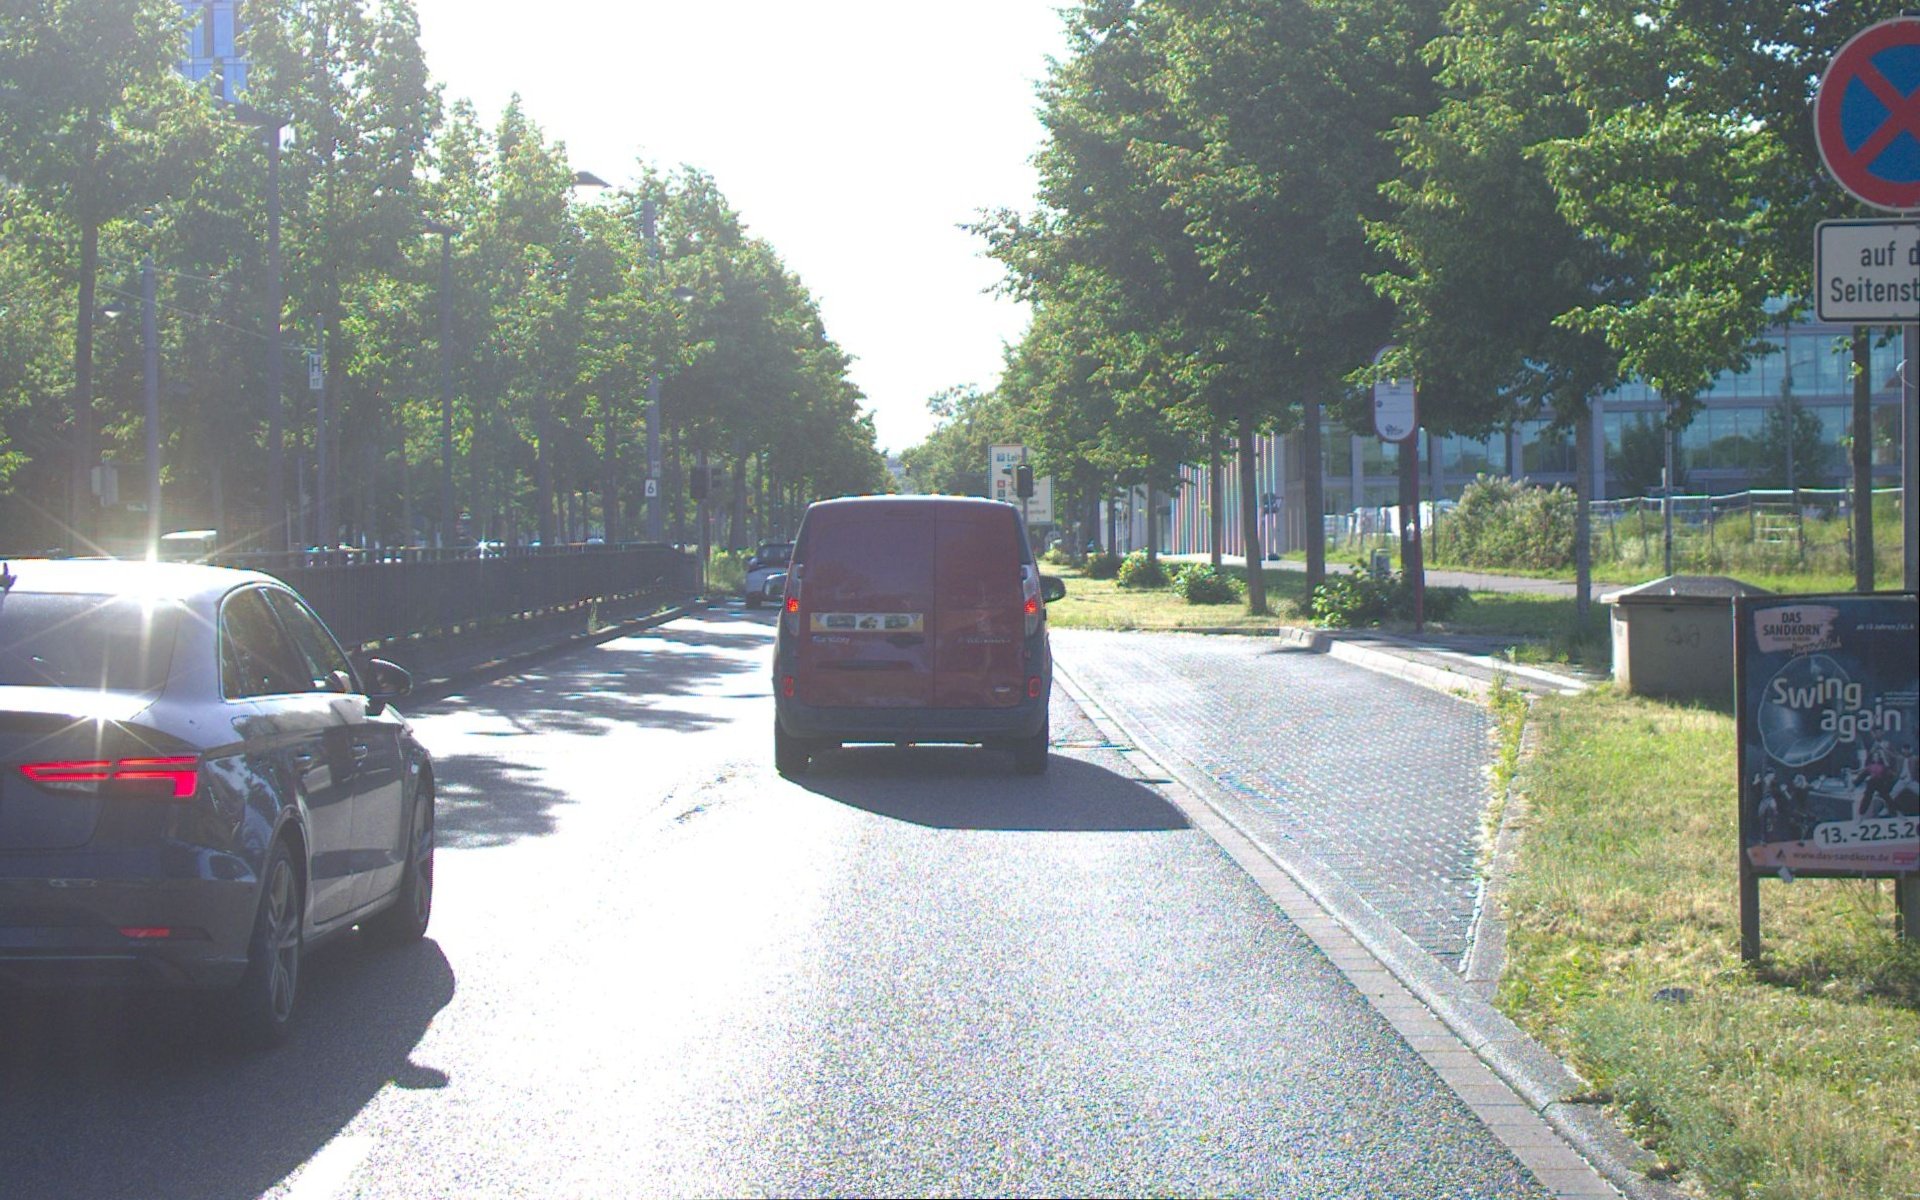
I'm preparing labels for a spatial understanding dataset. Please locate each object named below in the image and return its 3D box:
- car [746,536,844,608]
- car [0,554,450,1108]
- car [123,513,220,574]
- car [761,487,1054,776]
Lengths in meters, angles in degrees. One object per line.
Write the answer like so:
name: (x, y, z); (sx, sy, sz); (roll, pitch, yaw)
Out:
car: (-3.425, -0.603, 71.595); (1.942, 1.436, 4.001); (-1, 1, -2)
car: (-2.785, 0.569, 10.927); (1.721, 1.361, 4.146); (1, 1, 0)
car: (-24.226, -1.722, 105.724); (1.993, 1.744, 4.228); (-2, 0, -1)
car: (-0.405, 0.153, 23.209); (1.797, 1.771, 4.001); (0, 1, -2)
